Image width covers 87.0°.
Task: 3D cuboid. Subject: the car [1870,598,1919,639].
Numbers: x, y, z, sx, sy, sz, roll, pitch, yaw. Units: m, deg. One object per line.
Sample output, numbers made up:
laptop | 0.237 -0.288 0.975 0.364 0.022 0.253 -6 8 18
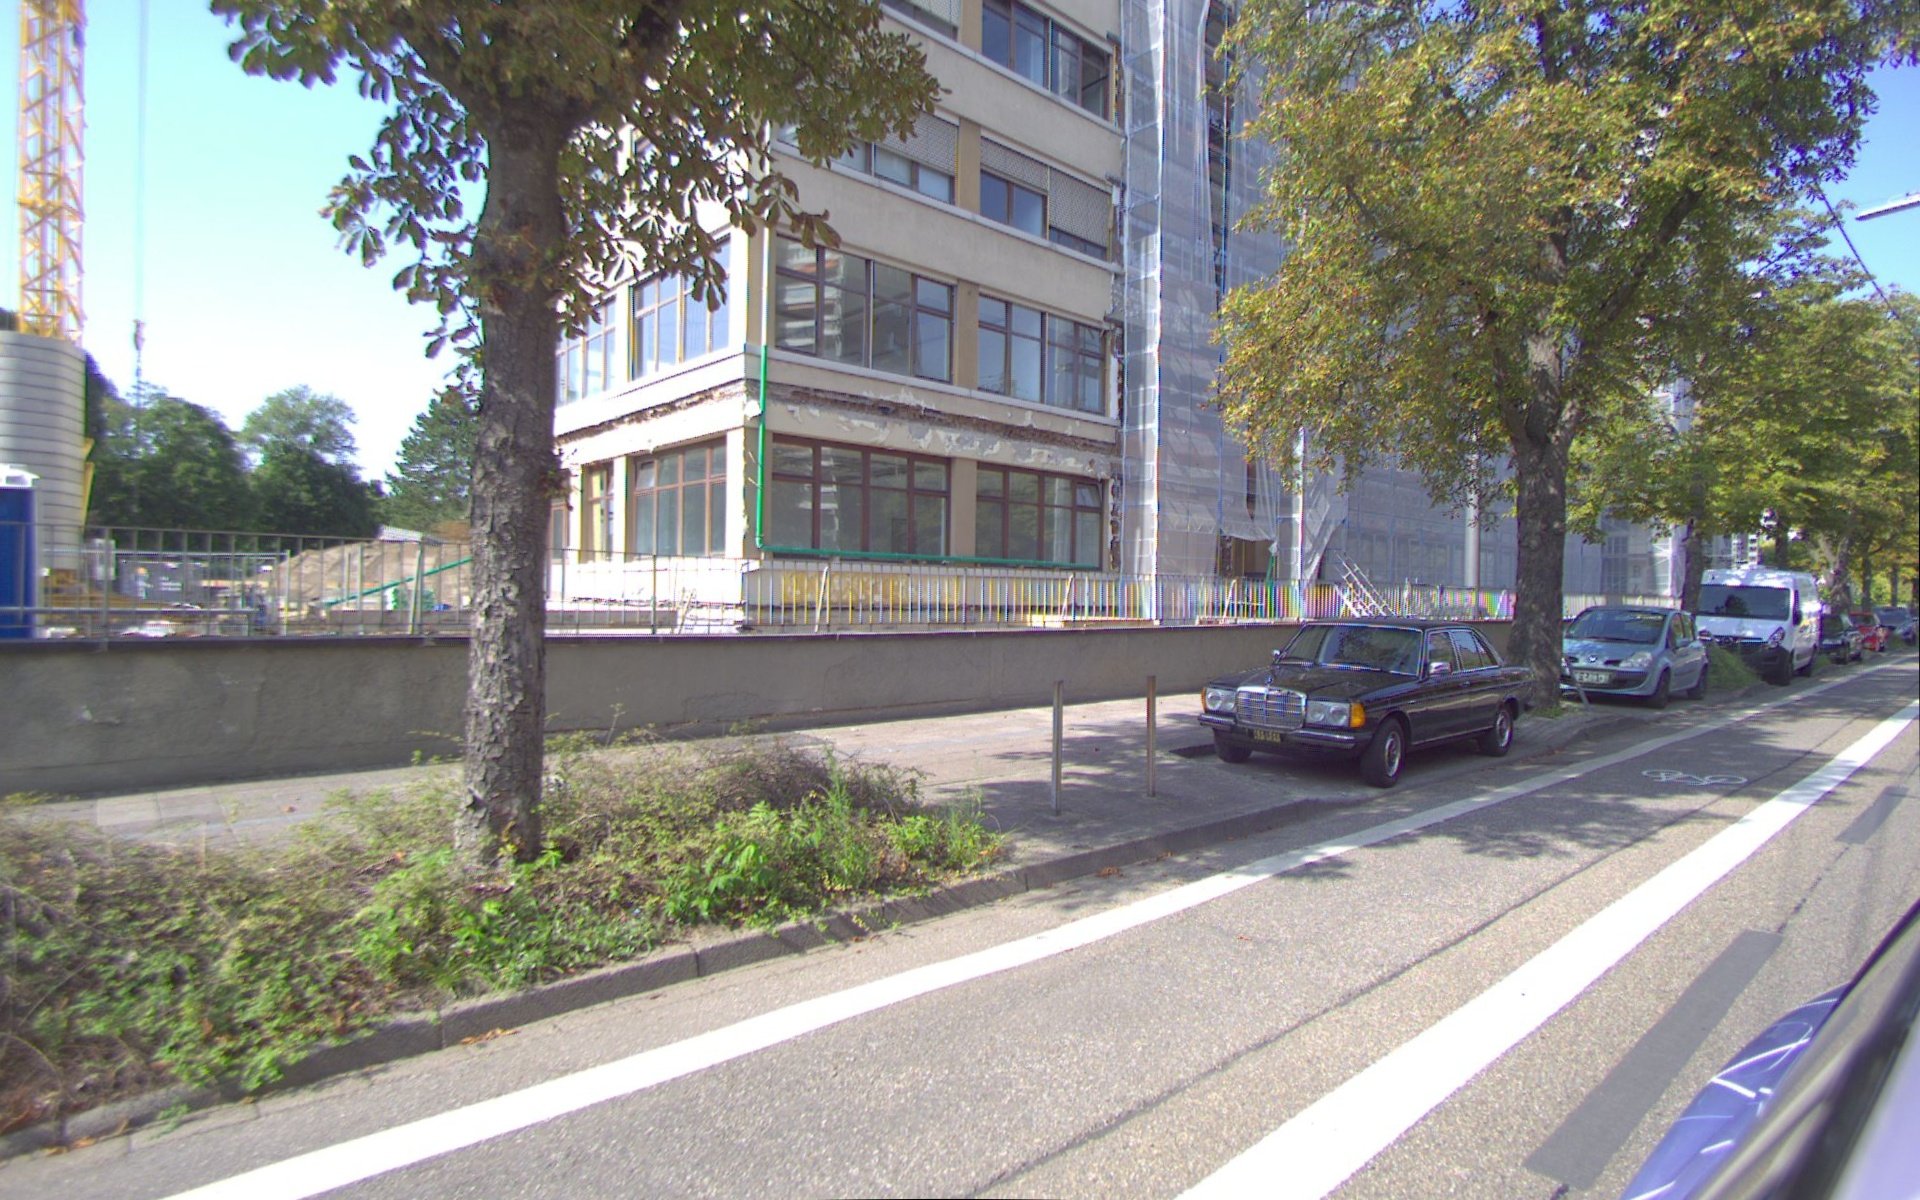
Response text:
car | 40.838 0.784 43.907 4.323 1.713 1.754 1 -1 -44

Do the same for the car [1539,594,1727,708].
car | 11.267 0.777 16.852 3.809 1.637 1.667 1 1 -42

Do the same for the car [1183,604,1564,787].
car | 4.418 0.789 10.410 4.637 1.394 1.756 0 2 -42

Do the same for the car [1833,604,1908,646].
car | 33.255 0.876 36.924 3.931 1.431 1.619 0 1 -42

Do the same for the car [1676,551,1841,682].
car | 18.332 0.306 23.125 5.409 2.583 2.086 0 4 -44

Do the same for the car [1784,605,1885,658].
car | 25.781 0.868 29.795 4.743 1.391 1.619 0 1 -42
